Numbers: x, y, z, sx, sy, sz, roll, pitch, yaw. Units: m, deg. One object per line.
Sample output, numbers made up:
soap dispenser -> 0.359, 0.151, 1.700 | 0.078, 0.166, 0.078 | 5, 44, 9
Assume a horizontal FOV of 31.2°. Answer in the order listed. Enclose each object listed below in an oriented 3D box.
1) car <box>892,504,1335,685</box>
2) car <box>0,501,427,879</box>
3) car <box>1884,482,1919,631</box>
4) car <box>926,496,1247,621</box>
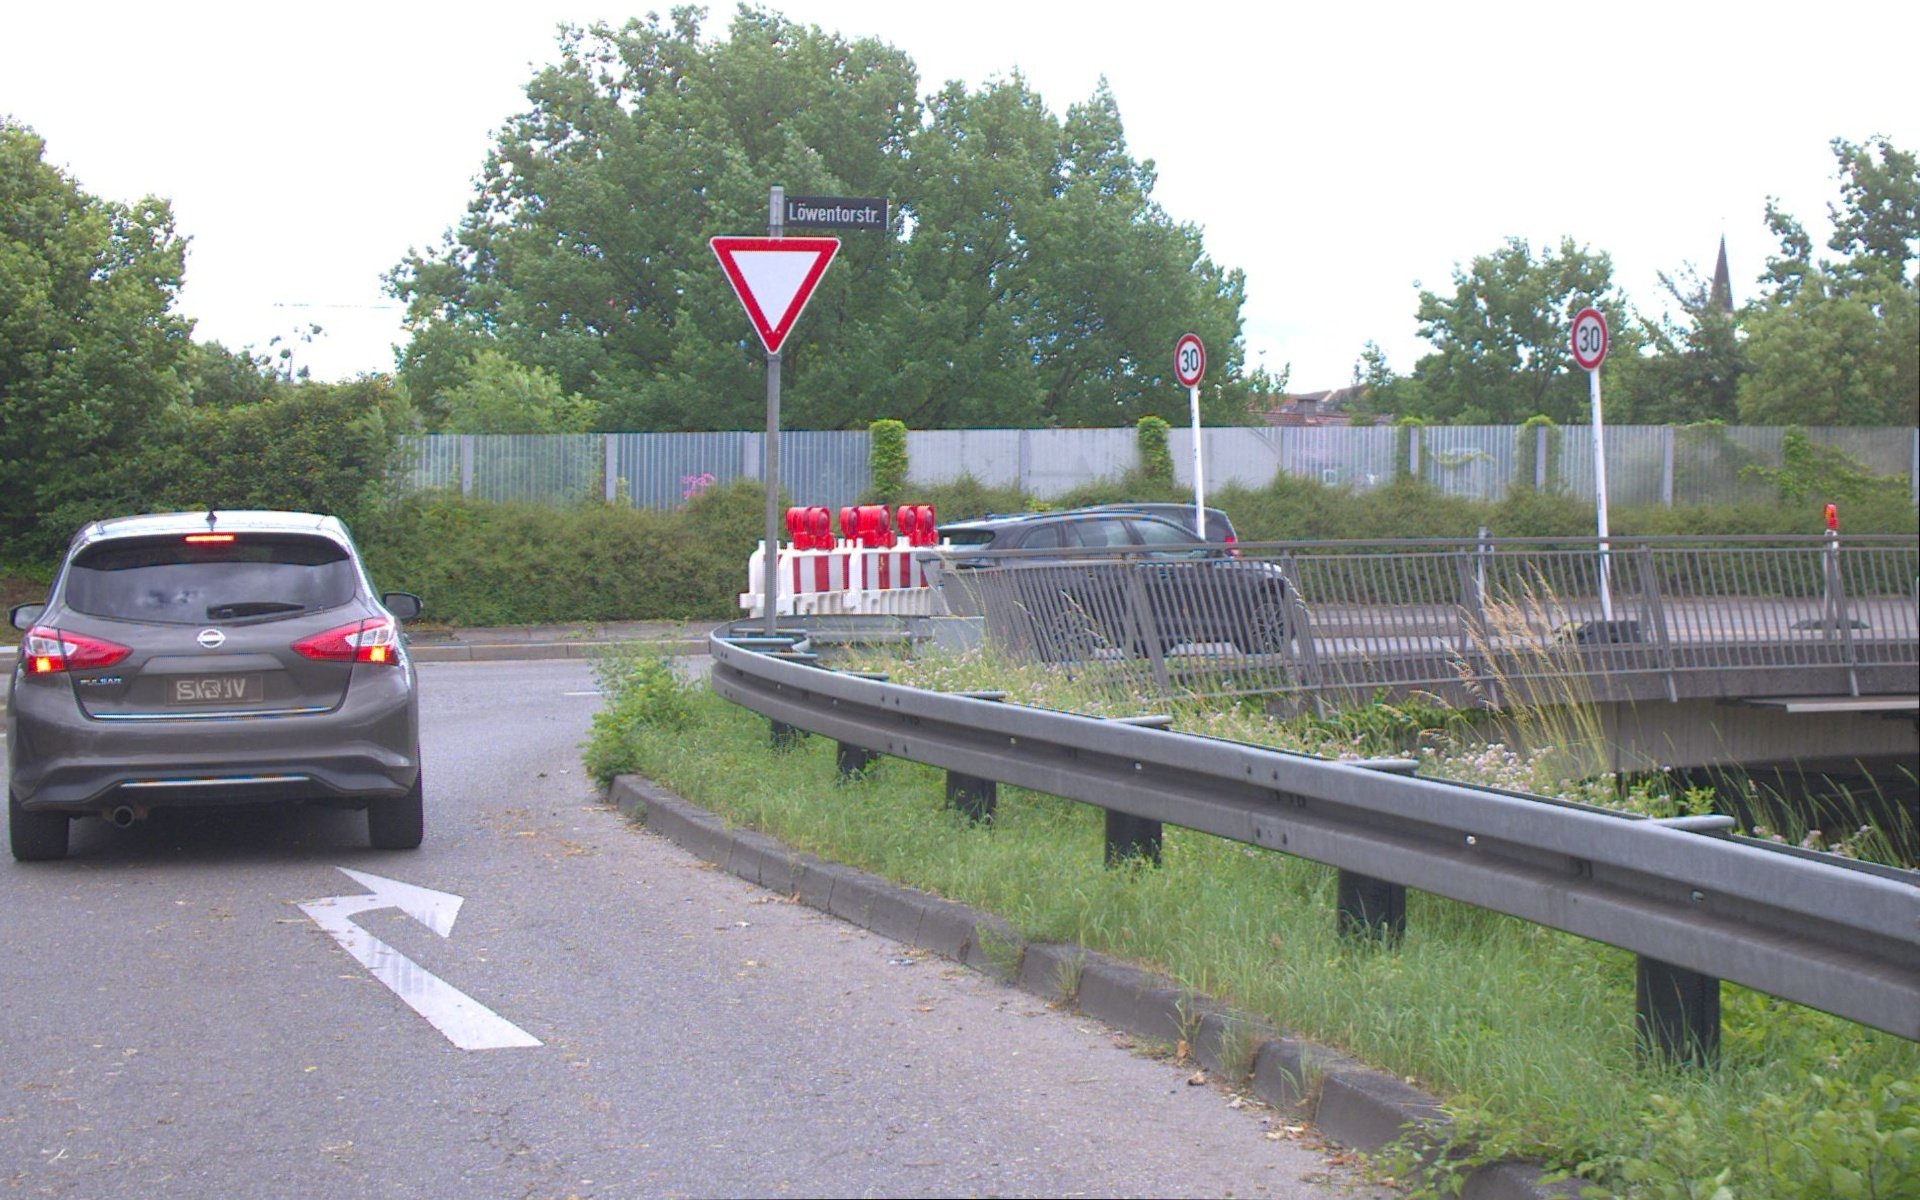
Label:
car -> 1.476, -0.050, 32.821 | 3.775, 1.546, 1.826 | 2, 1, -30
car -> -3.577, 0.325, 16.250 | 1.797, 1.547, 4.001 | -1, 1, -13
car -> 12.656, -0.450, 38.884 | 3.986, 1.669, 1.718 | 1, 0, -21
car -> 1.613, -0.522, 44.180 | 3.775, 1.547, 1.644 | 0, -1, -18
